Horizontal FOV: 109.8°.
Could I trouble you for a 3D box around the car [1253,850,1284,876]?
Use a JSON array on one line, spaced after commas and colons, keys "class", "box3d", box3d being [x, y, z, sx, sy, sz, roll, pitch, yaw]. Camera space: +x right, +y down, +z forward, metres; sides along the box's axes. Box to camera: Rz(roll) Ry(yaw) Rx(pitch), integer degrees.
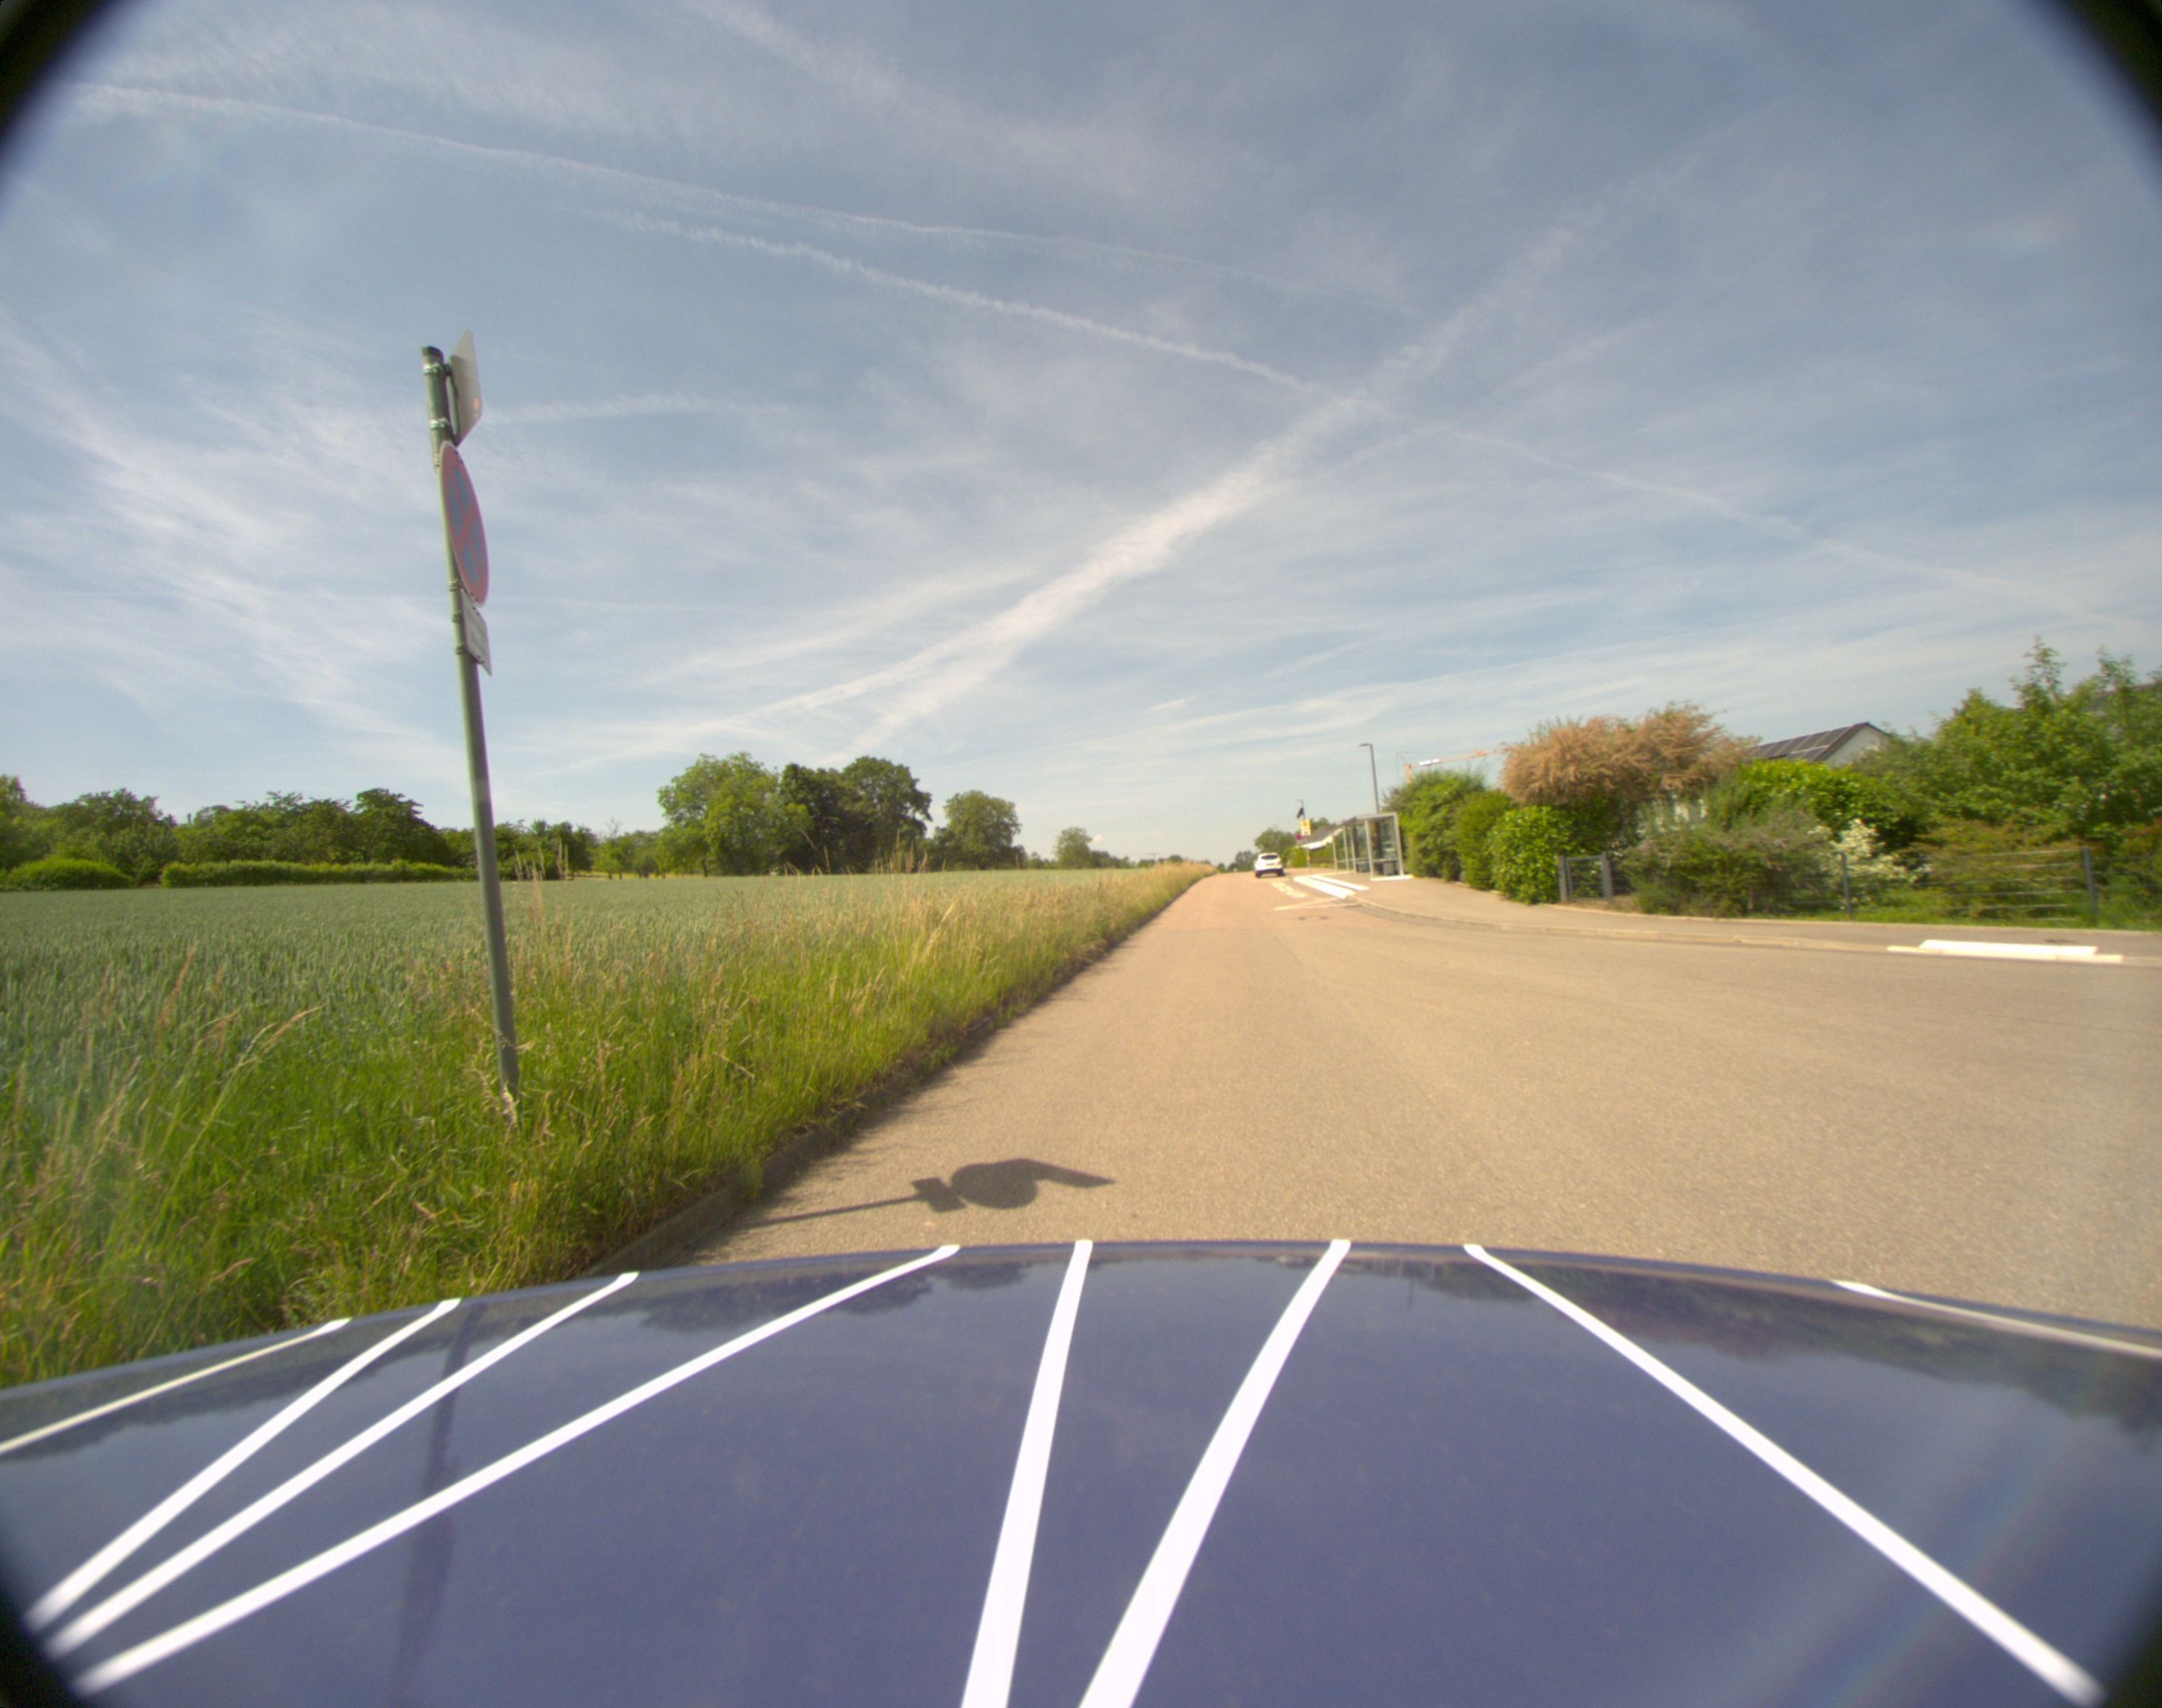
[{"class": "car", "box3d": [13.095, 0.585, 53.284, 1.737, 1.623, 4.356, -4, -1, 10]}]
